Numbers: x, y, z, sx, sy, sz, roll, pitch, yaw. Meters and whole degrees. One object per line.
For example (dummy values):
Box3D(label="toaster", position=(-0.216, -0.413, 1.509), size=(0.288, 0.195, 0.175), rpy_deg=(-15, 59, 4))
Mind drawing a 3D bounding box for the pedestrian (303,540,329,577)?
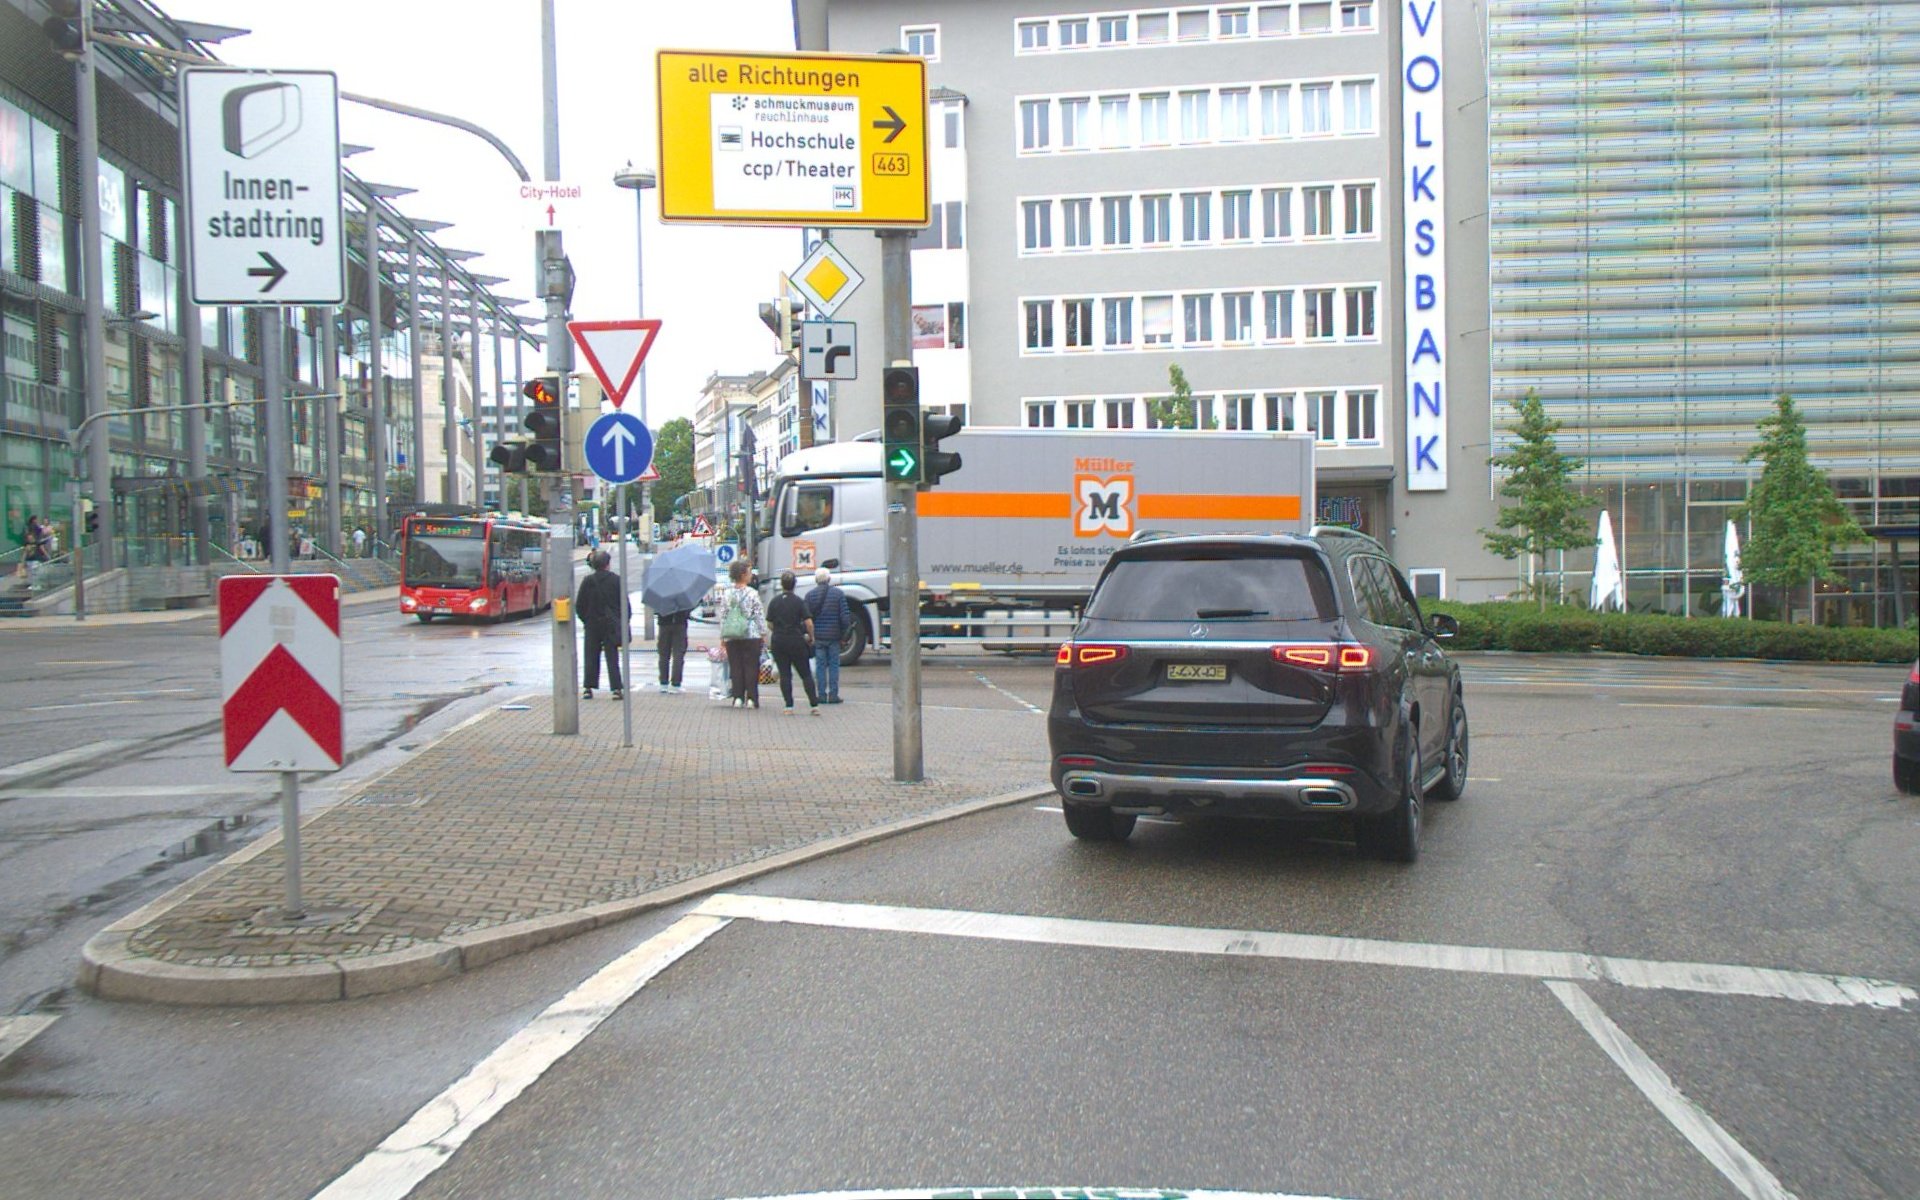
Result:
Box3D(label="pedestrian", position=(-30.819, -1.977, 79.104), size=(1.021, 1.742, 1.004), rpy_deg=(0, 1, -13))

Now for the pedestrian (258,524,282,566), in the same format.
Box3D(label="pedestrian", position=(-29.141, -2.314, 69.885), size=(0.813, 1.742, 0.799), rpy_deg=(0, 1, -13))

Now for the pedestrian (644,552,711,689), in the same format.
Box3D(label="pedestrian", position=(-3.611, 0.261, 21.196), size=(0.741, 1.721, 0.693), rpy_deg=(1, -1, -4))

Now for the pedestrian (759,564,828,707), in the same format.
Box3D(label="pedestrian", position=(-1.791, 0.380, 17.898), size=(0.691, 1.514, 0.560), rpy_deg=(1, -1, -4))

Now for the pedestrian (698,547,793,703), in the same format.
Box3D(label="pedestrian", position=(-2.412, 0.267, 18.708), size=(0.958, 1.701, 0.915), rpy_deg=(1, 1, -3))

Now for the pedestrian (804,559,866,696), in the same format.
Box3D(label="pedestrian", position=(-1.488, 0.327, 19.809), size=(0.699, 1.595, 0.854), rpy_deg=(1, 0, -3))

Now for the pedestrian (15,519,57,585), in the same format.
Box3D(label="pedestrian", position=(-28.682, -1.473, 51.355), size=(0.864, 2.015, 0.973), rpy_deg=(0, 1, -8))

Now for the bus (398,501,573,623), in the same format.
Box3D(label="bus", position=(-15.388, -1.169, 55.319), size=(2.865, 3.378, 18.449), rpy_deg=(0, 1, -7))

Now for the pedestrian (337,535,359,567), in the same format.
Box3D(label="pedestrian", position=(-33.368, -2.651, 90.209), size=(1.021, 1.742, 1.004), rpy_deg=(0, 1, -13))

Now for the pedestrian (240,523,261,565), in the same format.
Box3D(label="pedestrian", position=(-29.868, -2.361, 69.630), size=(0.669, 1.742, 0.847), rpy_deg=(0, 1, -13))

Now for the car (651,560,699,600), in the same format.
Box3D(label="car", position=(-11.578, -0.828, 67.337), size=(1.704, 1.554, 3.995), rpy_deg=(1, 1, -7))

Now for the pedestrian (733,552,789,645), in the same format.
Box3D(label="pedestrian", position=(-3.969, -0.040, 33.001), size=(0.993, 1.818, 0.850), rpy_deg=(1, 1, -14))

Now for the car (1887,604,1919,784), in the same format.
Box3D(label="car", position=(9.494, 0.857, 14.396), size=(1.692, 1.445, 3.747), rpy_deg=(3, 0, 42))

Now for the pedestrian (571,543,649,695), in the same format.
Box3D(label="pedestrian", position=(-4.081, 0.219, 19.336), size=(0.768, 1.741, 0.706), rpy_deg=(1, 0, -4))

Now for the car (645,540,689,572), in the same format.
Box3D(label="car", position=(-17.467, -2.574, 98.639), size=(2.377, 1.811, 5.145), rpy_deg=(1, 1, -8))

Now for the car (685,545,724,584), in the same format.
Box3D(label="car", position=(-12.796, -1.768, 82.636), size=(1.827, 1.858, 4.094), rpy_deg=(1, 1, -10))

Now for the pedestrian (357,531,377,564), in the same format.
Box3D(label="pedestrian", position=(-32.423, -2.871, 90.438), size=(0.921, 1.742, 0.988), rpy_deg=(0, 1, -13))

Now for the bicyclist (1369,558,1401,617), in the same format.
Box3D(label="bicyclist", position=(12.550, -0.373, 48.862), size=(0.826, 1.734, 0.623), rpy_deg=(-1, 0, 6))

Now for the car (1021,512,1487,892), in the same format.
Box3D(label="car", position=(2.154, 0.421, 10.682), size=(2.045, 1.848, 4.793), rpy_deg=(1, 2, 21))

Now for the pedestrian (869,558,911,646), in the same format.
Box3D(label="pedestrian", position=(-1.386, 0.026, 32.907), size=(0.765, 1.718, 0.639), rpy_deg=(1, 1, 1))

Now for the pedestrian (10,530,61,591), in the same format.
Box3D(label="pedestrian", position=(-26.451, -1.122, 47.344), size=(1.021, 1.742, 1.004), rpy_deg=(0, 1, -13))

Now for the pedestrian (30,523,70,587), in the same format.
Box3D(label="pedestrian", position=(-28.786, -1.419, 52.312), size=(0.858, 2.015, 0.848), rpy_deg=(0, 1, -8))

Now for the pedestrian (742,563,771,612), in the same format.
Box3D(label="pedestrian", position=(-7.730, -0.476, 62.839), size=(1.005, 1.806, 0.797), rpy_deg=(1, 1, -14))

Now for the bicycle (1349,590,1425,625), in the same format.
Box3D(label="bicycle", position=(12.599, 0.231, 48.874), size=(2.092, 1.010, 0.695), rpy_deg=(0, 1, 6))

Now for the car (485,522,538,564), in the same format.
Box3D(label="car", position=(-23.218, -2.905, 85.834), size=(2.202, 2.070, 5.343), rpy_deg=(1, 1, -11))

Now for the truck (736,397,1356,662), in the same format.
Box3D(label="truck", position=(1.432, -1.192, 29.344), size=(10.525, 4.409, 2.853), rpy_deg=(0, 1, -4))

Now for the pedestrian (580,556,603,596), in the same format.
Box3D(label="pedestrian", position=(-17.950, -1.186, 80.566), size=(0.935, 1.919, 0.810), rpy_deg=(1, 1, -1))

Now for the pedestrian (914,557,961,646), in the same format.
Box3D(label="pedestrian", position=(-0.466, 0.032, 34.192), size=(0.815, 1.809, 0.615), rpy_deg=(1, 1, -14))

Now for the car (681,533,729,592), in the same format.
Box3D(label="car", position=(-13.774, -1.991, 89.109), size=(2.400, 3.009, 6.139), rpy_deg=(1, 1, -10))

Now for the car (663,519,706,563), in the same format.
Box3D(label="car", position=(-23.225, -4.964, 139.670), size=(2.393, 3.525, 6.155), rpy_deg=(1, 1, 2))
